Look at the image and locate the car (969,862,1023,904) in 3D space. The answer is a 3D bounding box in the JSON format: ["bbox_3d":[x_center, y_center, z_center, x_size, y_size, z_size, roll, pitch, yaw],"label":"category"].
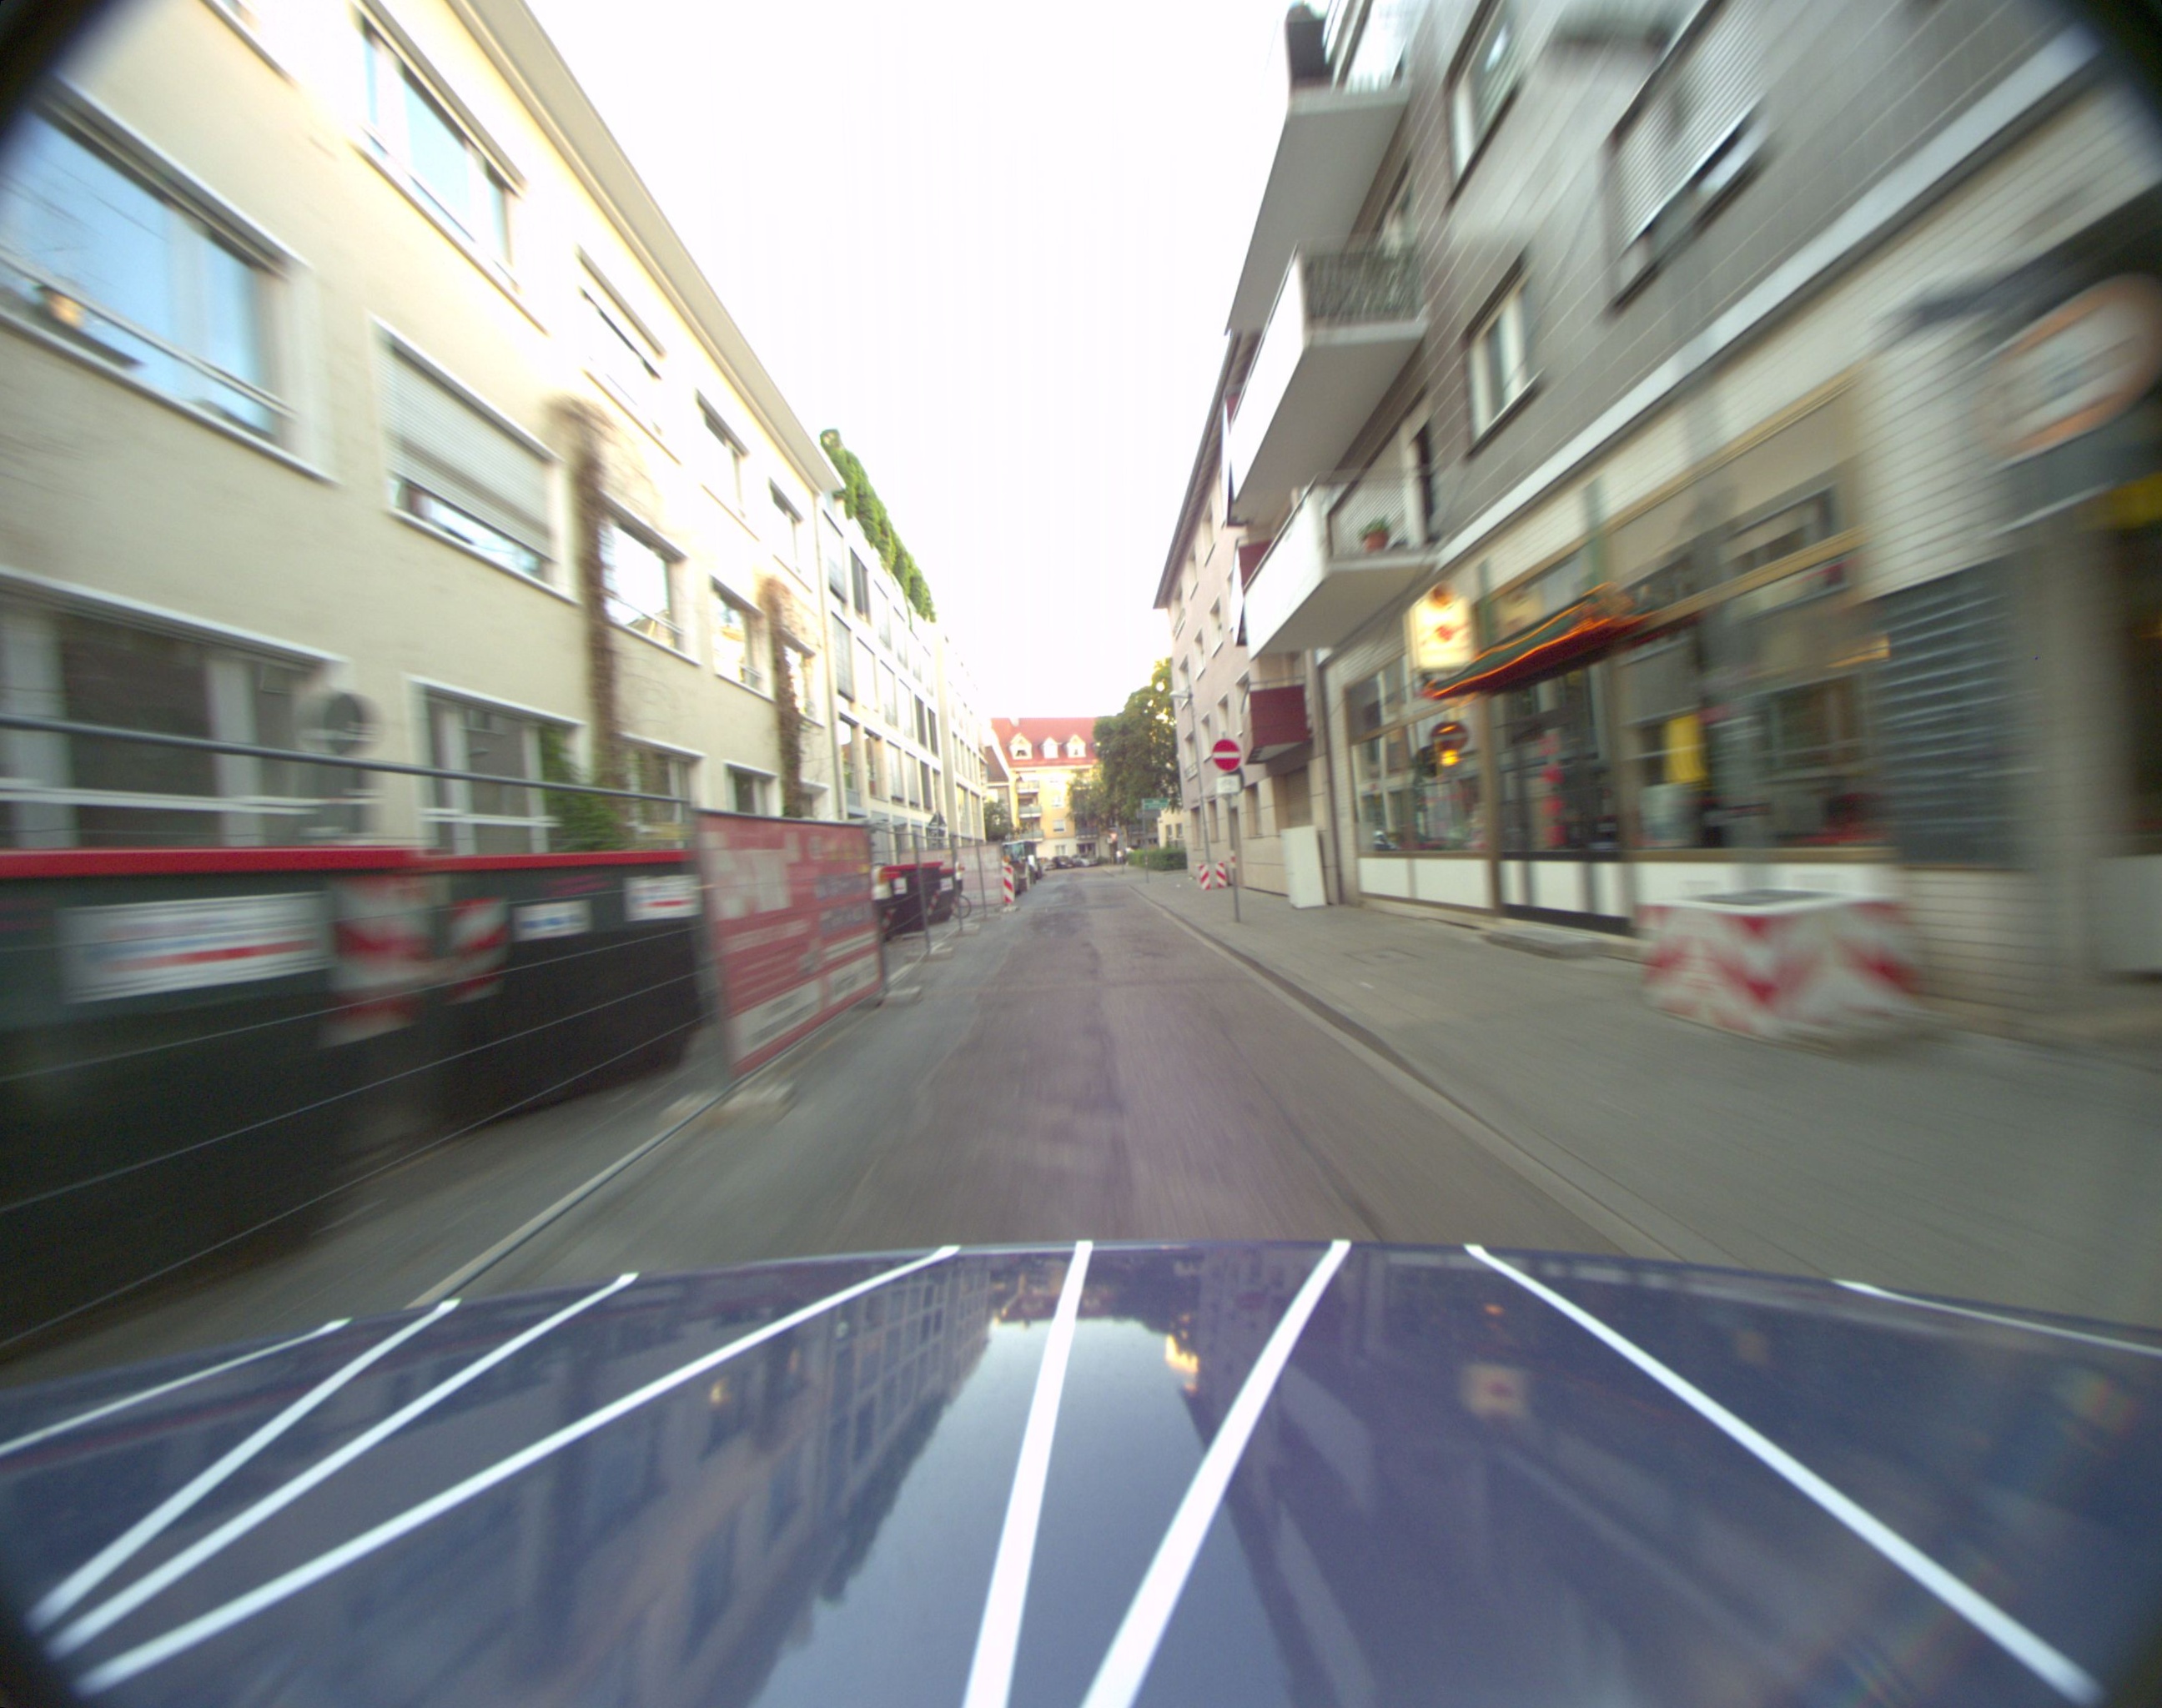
[{"bbox_3d":[-3.156,1.061,28.857,1.493,1.285,3.779,-6,0,0],"label":"car"}]

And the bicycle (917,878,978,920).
[{"bbox_3d":[-3.695,1.253,20.980,1.771,1.076,0.473,-4,1,35],"label":"bicycle"}]

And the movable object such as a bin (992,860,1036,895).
[{"bbox_3d":[-2.949,0.997,34.054,1.493,1.285,3.779,-6,0,0],"label":"movable object such as a bin"}]

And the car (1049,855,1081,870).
[{"bbox_3d":[-1.789,0.944,84.029,1.794,1.466,3.992,-4,0,-28],"label":"car"}]

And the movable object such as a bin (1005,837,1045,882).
[{"bbox_3d":[-3.689,0.335,50.625,2.097,2.631,4.372,-6,0,0],"label":"movable object such as a bin"}]

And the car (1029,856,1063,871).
[{"bbox_3d":[-3.858,1.093,82.932,1.795,1.466,3.991,-4,1,-33],"label":"car"}]

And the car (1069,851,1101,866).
[{"bbox_3d":[0.425,0.503,84.736,1.794,1.466,3.991,-4,0,-29],"label":"car"}]
